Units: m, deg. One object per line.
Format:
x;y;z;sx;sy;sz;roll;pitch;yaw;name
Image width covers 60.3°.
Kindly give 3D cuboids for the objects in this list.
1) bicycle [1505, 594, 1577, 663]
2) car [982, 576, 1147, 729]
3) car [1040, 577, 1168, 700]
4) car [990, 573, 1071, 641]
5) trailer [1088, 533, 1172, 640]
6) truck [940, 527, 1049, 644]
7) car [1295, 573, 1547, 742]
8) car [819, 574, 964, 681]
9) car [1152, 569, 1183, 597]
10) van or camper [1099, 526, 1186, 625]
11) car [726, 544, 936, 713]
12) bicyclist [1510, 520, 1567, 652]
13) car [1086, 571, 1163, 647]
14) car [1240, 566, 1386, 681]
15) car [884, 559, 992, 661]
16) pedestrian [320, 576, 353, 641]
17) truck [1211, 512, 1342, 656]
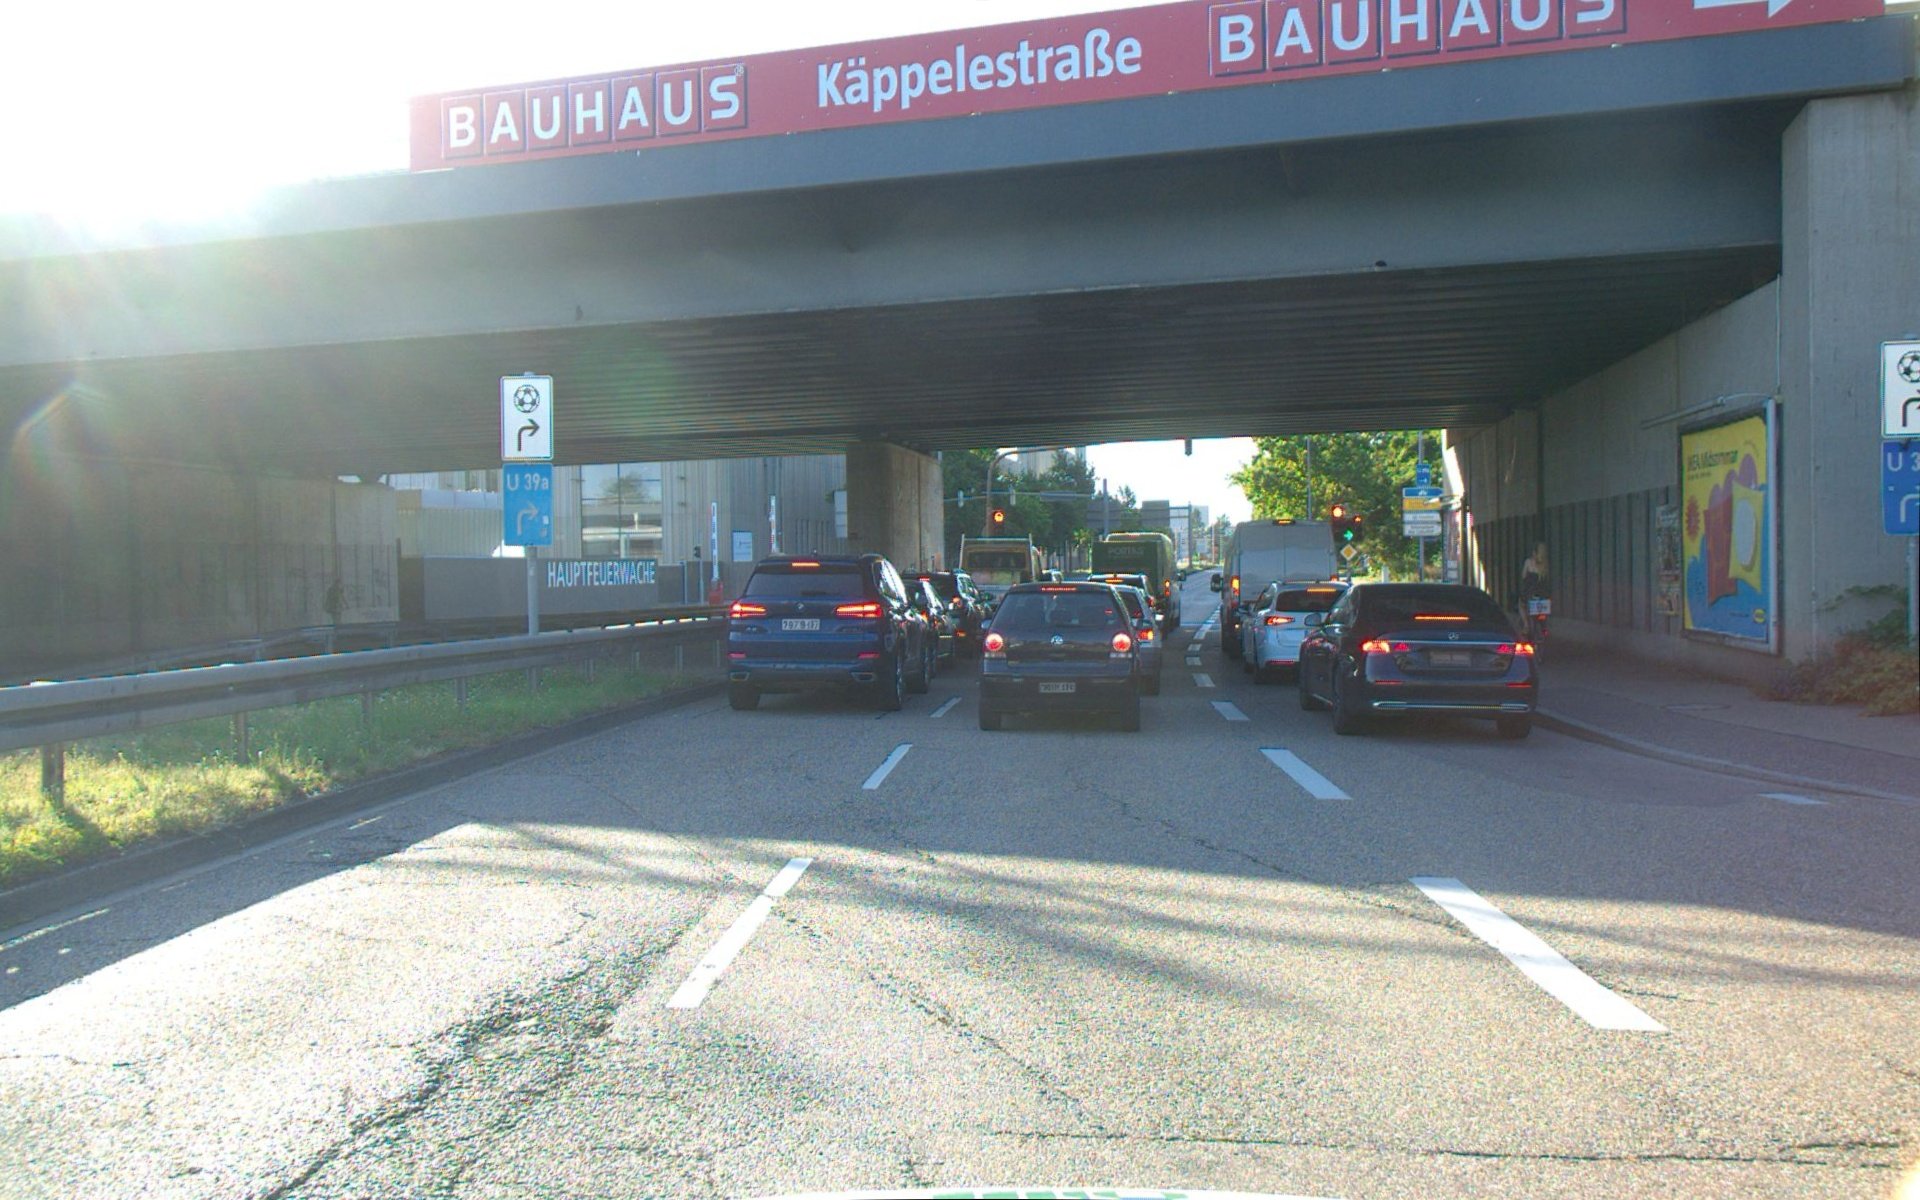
8.741;0.411;24.984;0.566;0.980;2.888;-1;0;10;bicycle
1.089;0.504;17.491;1.548;1.433;3.833;0;0;3;car
1.982;0.458;22.482;1.514;1.447;3.420;-4;0;6;car
2.153;0.205;49.282;1.951;1.934;4.003;-1;0;9;car
4.320;-0.327;41.616;1.824;2.508;3.835;-2;0;9;trailer
0.913;-0.325;39.976;1.985;2.601;5.542;-1;0;8;truck
4.643;0.486;17.303;1.704;1.480;4.609;0;1;5;car
-1.018;0.408;26.283;1.803;1.465;3.677;-4;0;4;car
12.856;-1.013;102.336;1.762;1.632;4.003;-1;0;8;car
5.270;-0.644;47.100;1.951;2.615;5.923;-1;0;11;van or camper
-1.408;0.315;19.872;1.791;1.769;4.464;-1;0;5;car
8.708;-0.208;24.931;0.667;1.940;0.834;-1;0;10;bicyclist
3.605;0.201;35.757;1.548;1.559;3.835;0;0;7;car
5.176;0.332;24.650;1.735;1.521;3.835;-2;0;7;car
-0.366;0.195;32.223;1.803;1.749;4.001;-4;0;2;car
-18.833;0.256;50.001;0.679;1.937;0.665;-1;0;9;pedestrian
6.141;-0.300;32.539;2.067;2.563;4.404;-2;0;6;truck
